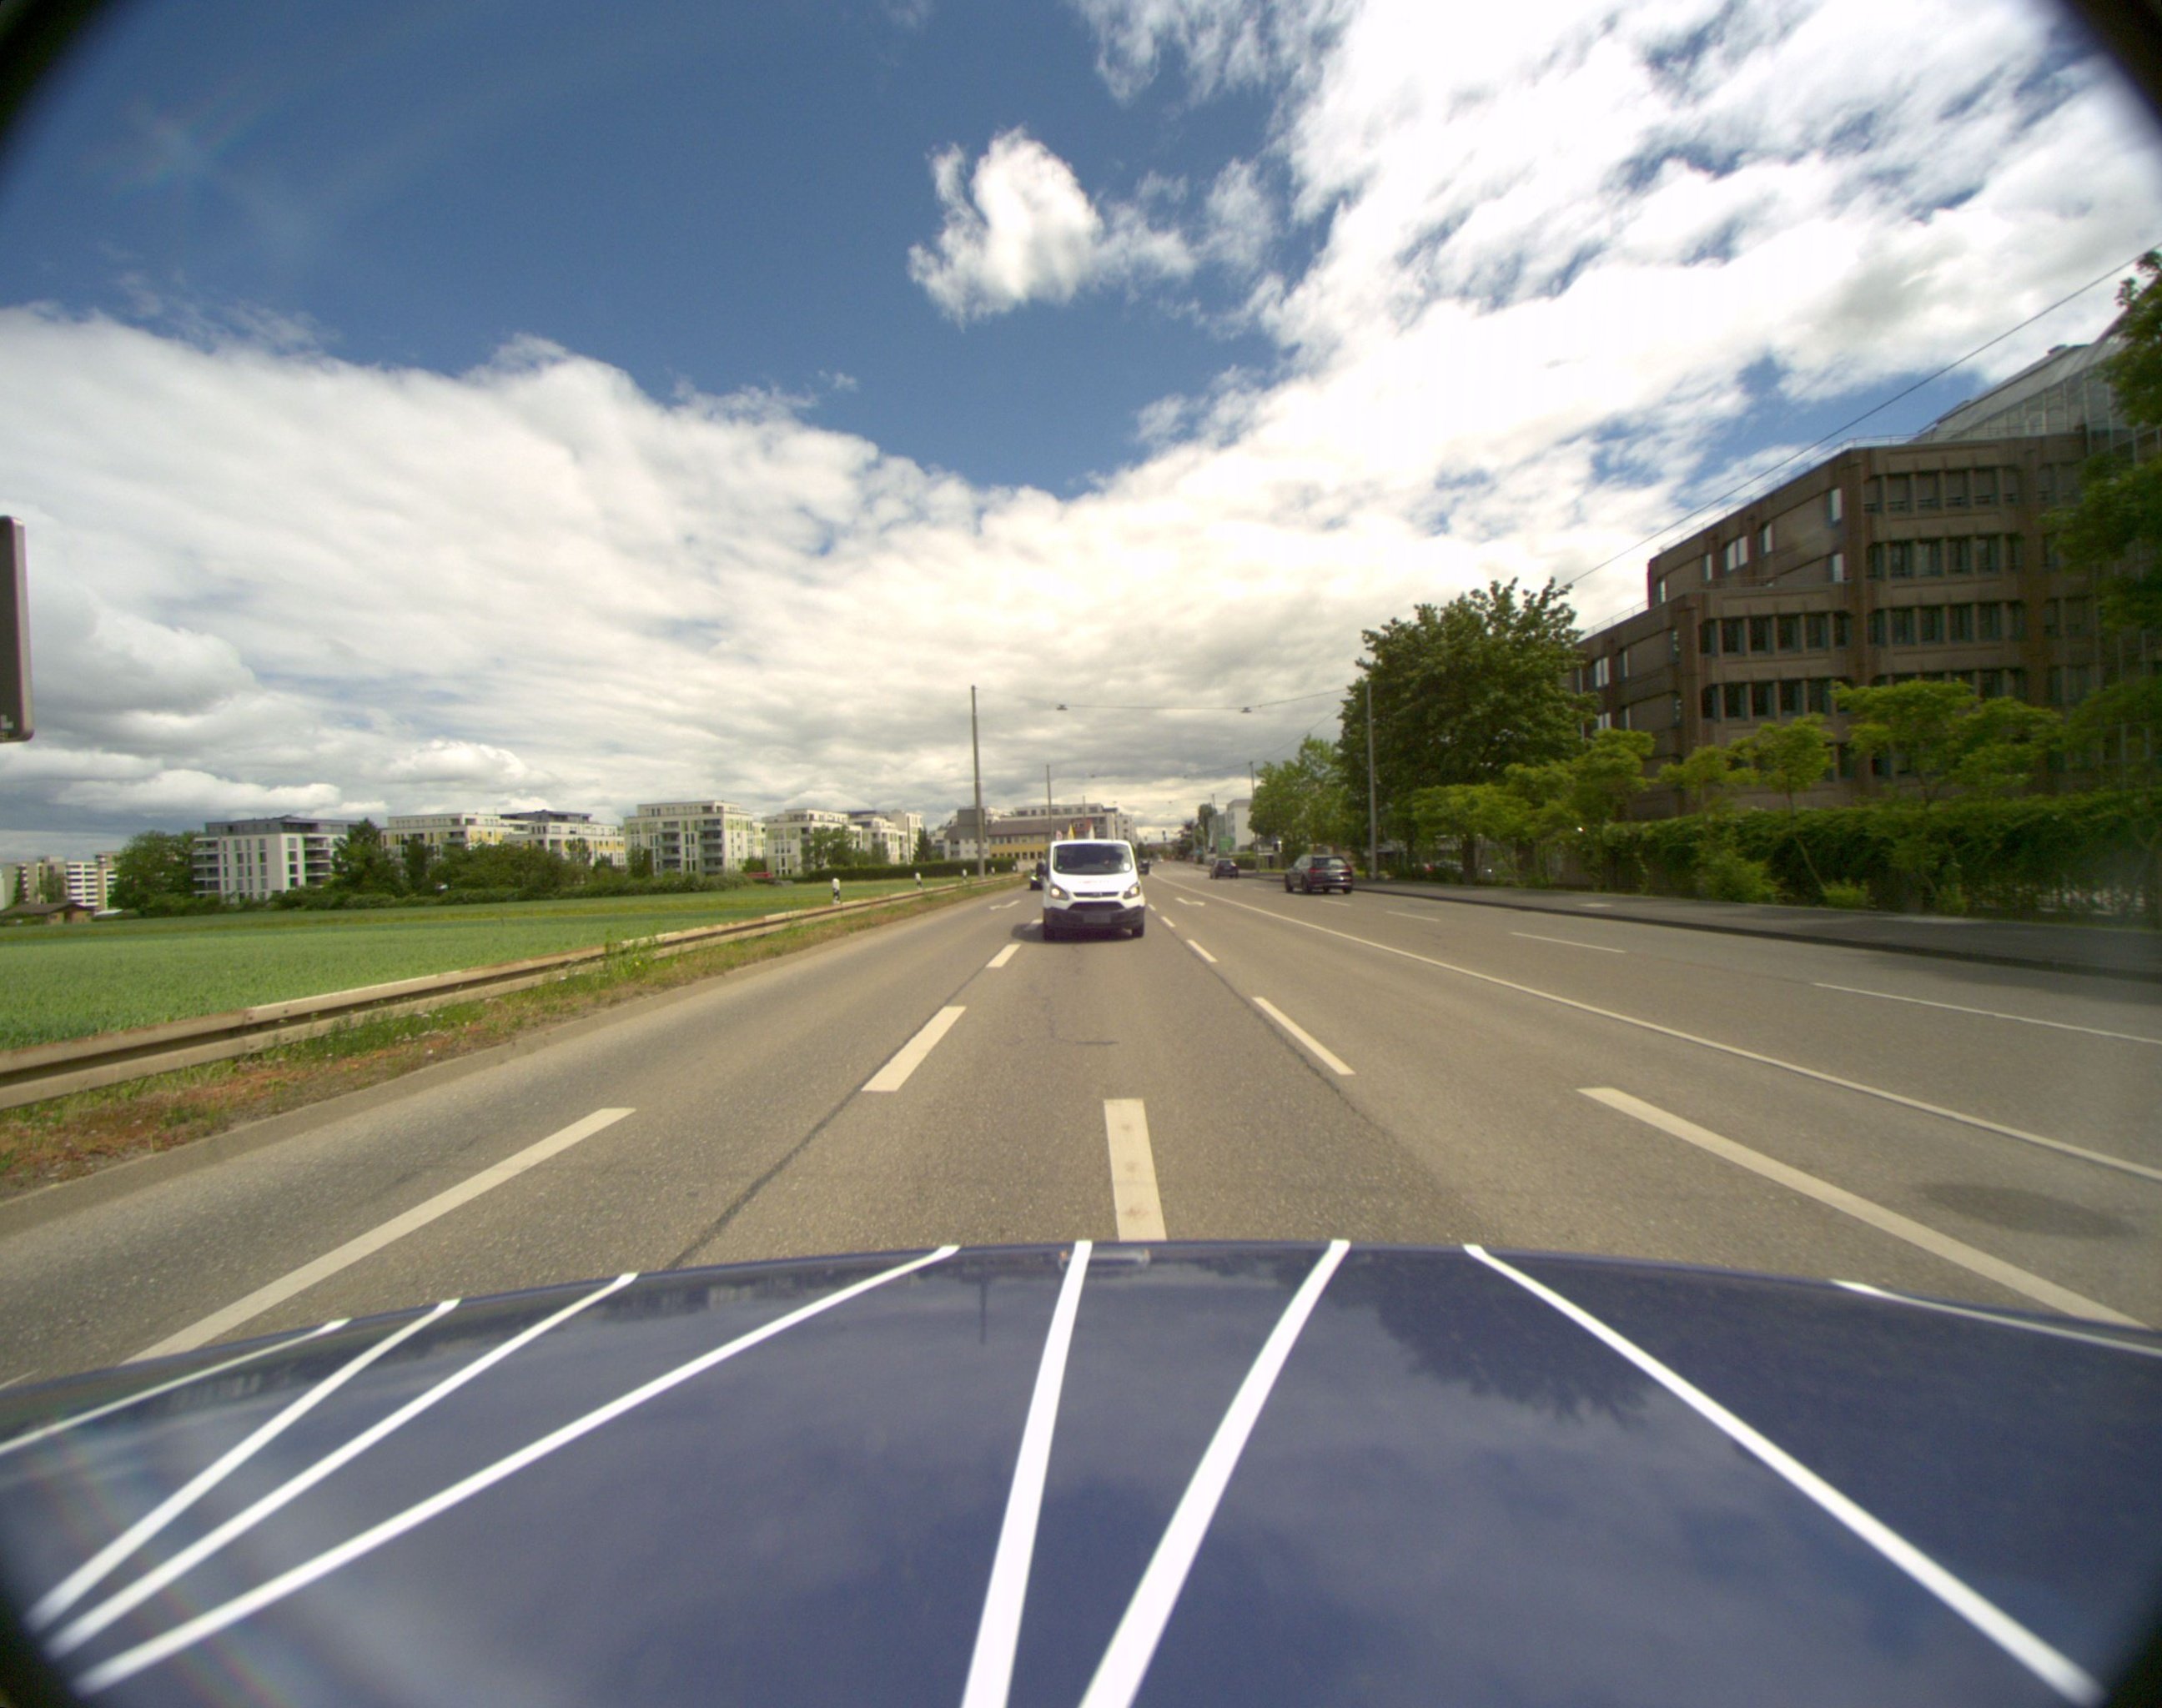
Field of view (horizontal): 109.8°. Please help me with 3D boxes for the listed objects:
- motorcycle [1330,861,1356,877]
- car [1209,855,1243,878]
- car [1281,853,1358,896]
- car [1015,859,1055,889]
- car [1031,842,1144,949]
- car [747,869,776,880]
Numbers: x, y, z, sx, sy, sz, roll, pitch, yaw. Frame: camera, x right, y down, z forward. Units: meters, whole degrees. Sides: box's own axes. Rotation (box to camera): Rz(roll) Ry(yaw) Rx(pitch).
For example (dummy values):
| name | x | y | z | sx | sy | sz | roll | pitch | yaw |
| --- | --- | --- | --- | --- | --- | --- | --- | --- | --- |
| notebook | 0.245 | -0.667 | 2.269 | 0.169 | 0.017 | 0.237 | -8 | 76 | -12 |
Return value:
| name | x | y | z | sx | sy | sz | roll | pitch | yaw |
| --- | --- | --- | --- | --- | --- | --- | --- | --- | --- |
| motorcycle | 21.462 | 1.203 | 62.248 | 1.905 | 1.237 | 0.746 | -2 | 1 | 1 |
| car | 11.053 | 0.901 | 58.292 | 1.801 | 1.576 | 4.313 | -3 | 1 | 1 |
| car | 9.872 | 0.789 | 31.793 | 1.872 | 1.605 | 4.572 | -2 | 1 | 2 |
| car | -2.486 | 1.121 | 42.301 | 1.843 | 1.528 | 4.807 | -2 | -2 | 0 |
| car | 0.208 | 0.733 | 16.855 | 1.998 | 1.907 | 5.882 | -2 | 1 | 2 |
| car | -59.950 | 3.835 | 142.610 | 4.436 | 2.002 | 2.000 | -2 | 1 | 1 |
